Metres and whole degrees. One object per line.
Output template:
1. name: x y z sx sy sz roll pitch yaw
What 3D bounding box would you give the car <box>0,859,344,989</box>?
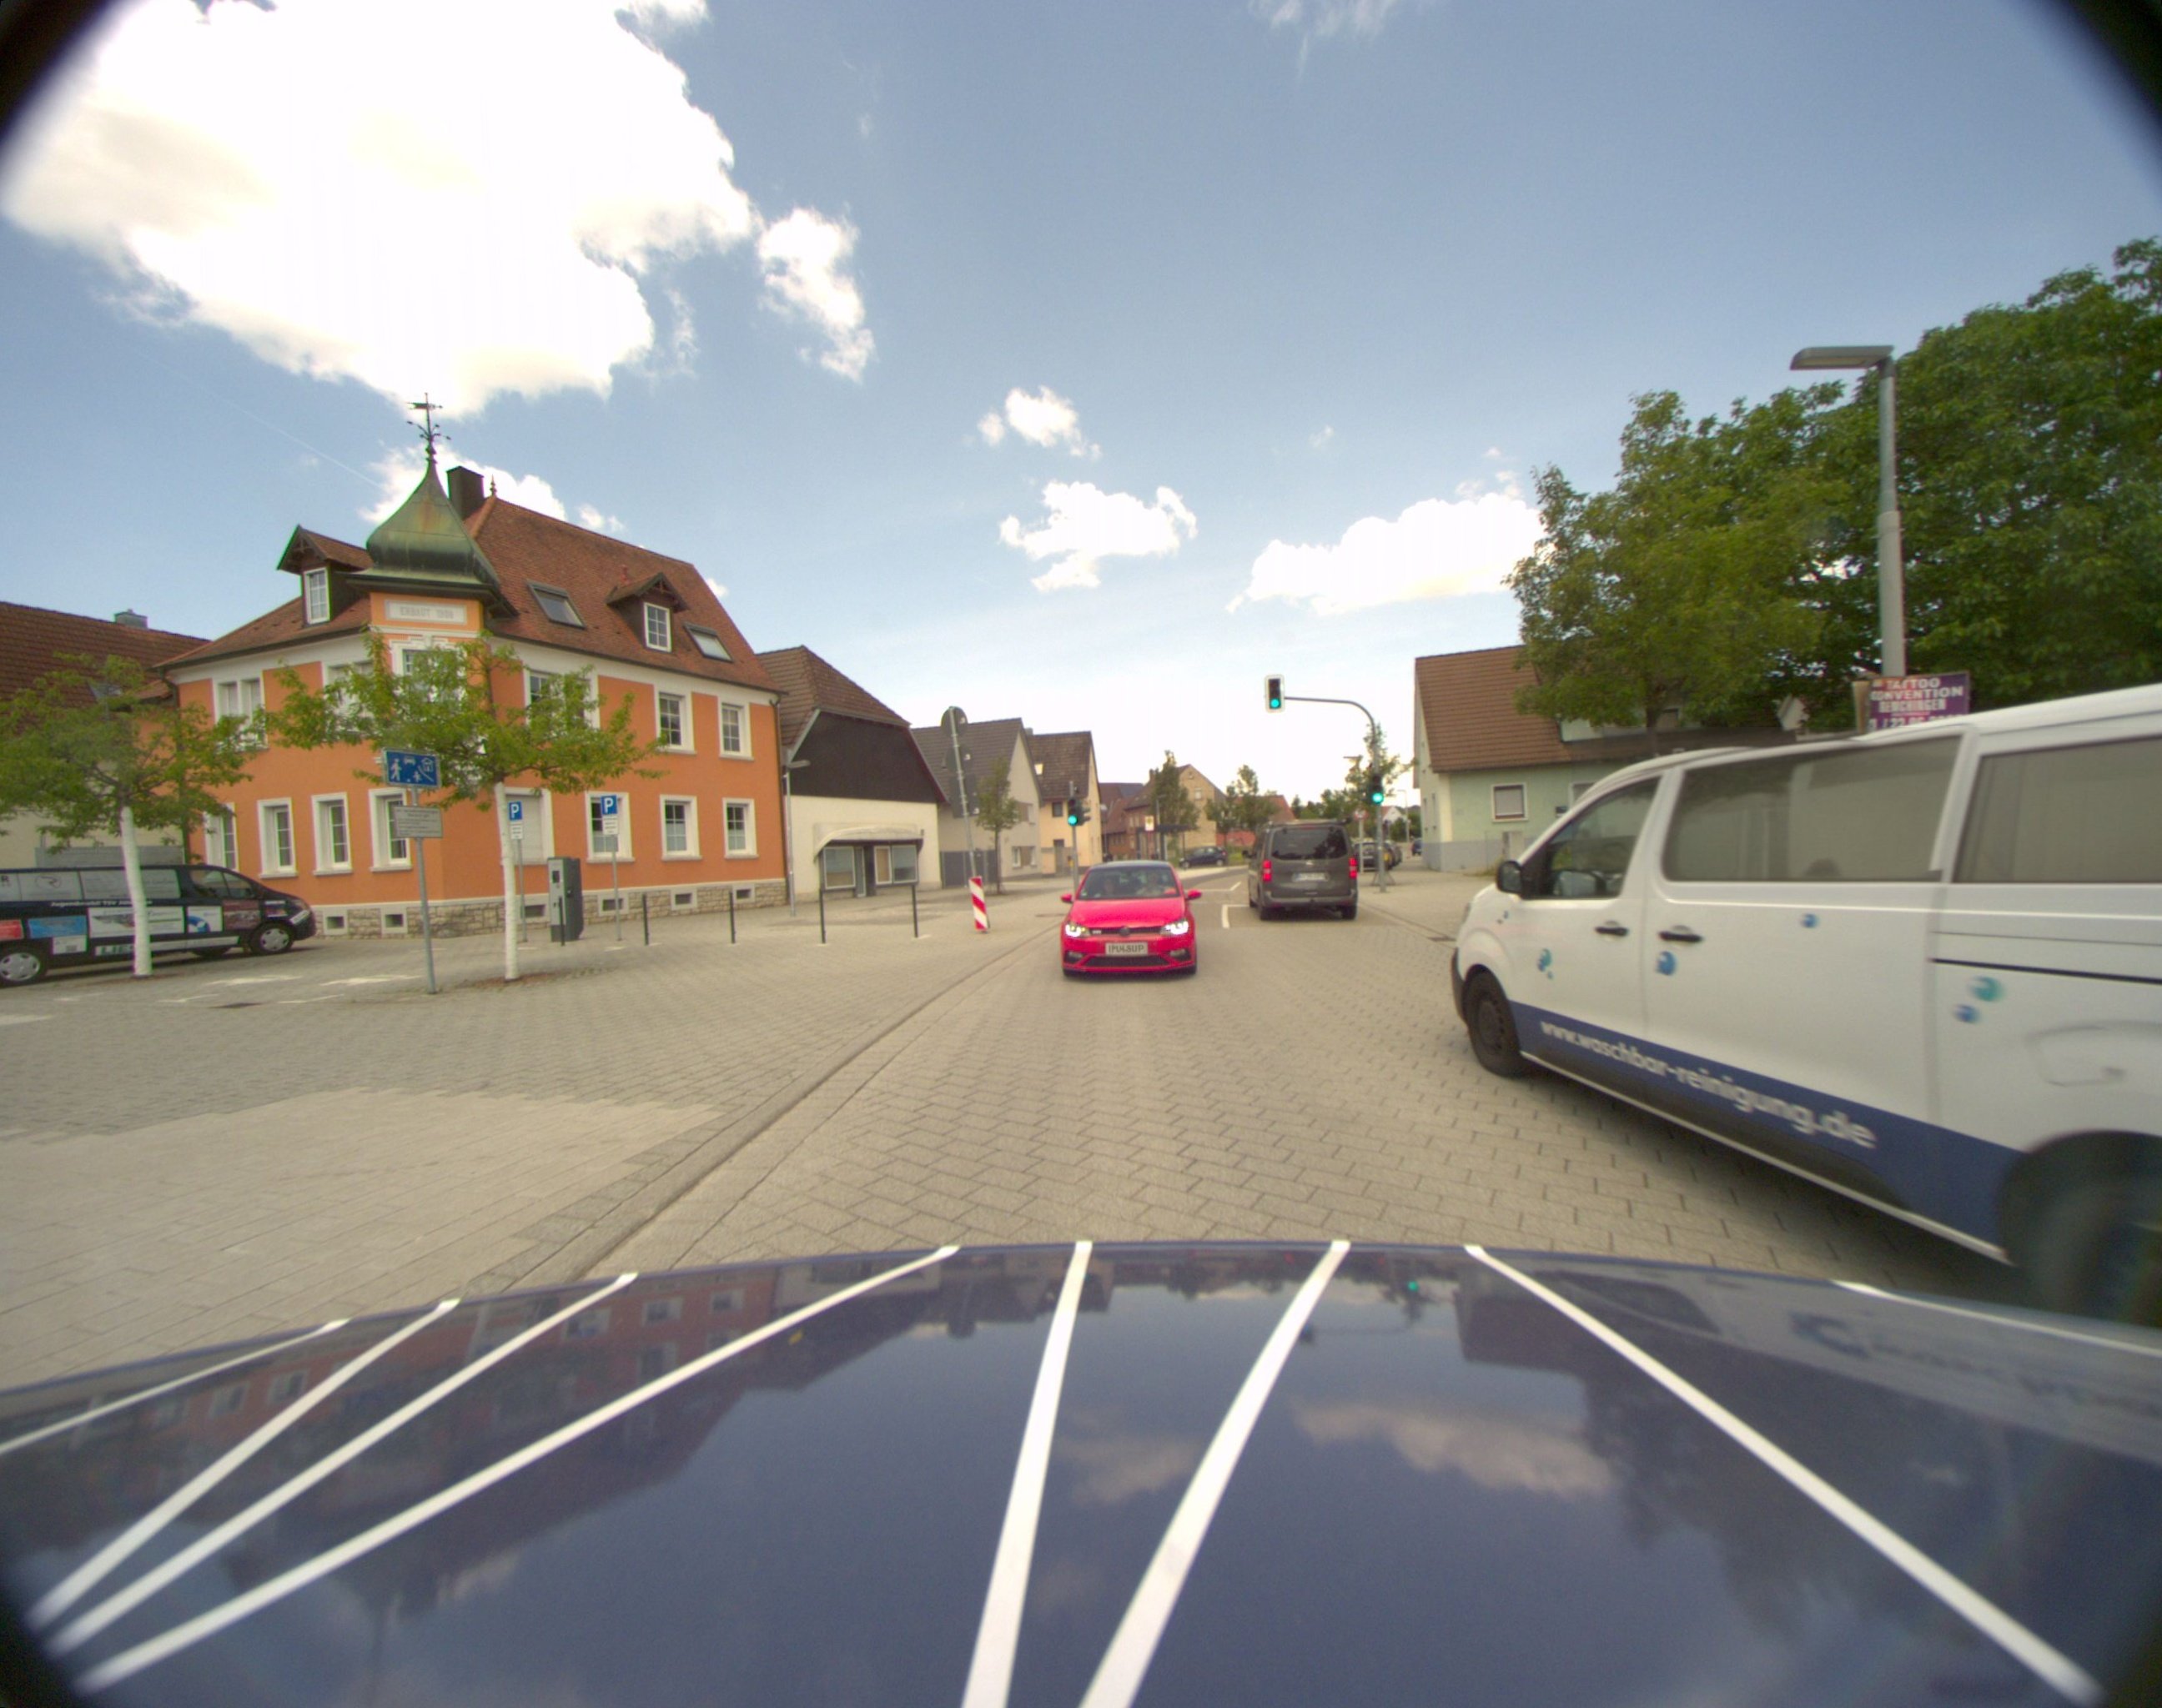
1. car: -18.015 1.206 14.383 1.996 2.002 5.500 -3 0 14

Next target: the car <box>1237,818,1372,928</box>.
1. car: 4.698 0.361 16.696 1.997 2.002 4.742 -2 0 7

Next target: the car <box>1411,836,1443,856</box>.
1. car: 28.482 -0.675 62.553 1.656 1.566 3.698 -2 1 36

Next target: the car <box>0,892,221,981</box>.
1. car: -20.960 1.687 15.172 1.621 1.475 4.727 -3 0 14

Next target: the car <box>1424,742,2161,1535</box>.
1. car: 3.537 0.620 3.206 1.998 1.869 4.866 -3 0 1

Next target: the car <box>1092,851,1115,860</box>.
1. car: 3.111 0.191 105.177 1.805 1.053 3.993 -3 0 -20

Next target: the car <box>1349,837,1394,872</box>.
1. car: 14.283 -0.013 37.239 1.734 1.482 4.507 -2 1 24

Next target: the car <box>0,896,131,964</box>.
1. car: -26.134 1.877 17.333 1.996 1.433 5.130 -3 0 14

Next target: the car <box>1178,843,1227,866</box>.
1. car: 9.455 0.033 58.938 3.544 1.583 1.668 -3 0 13

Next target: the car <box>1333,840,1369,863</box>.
1. car: 17.791 -0.184 50.011 1.886 1.426 4.603 -1 0 24

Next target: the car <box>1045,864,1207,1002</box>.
1. car: 0.453 0.915 10.512 1.782 1.403 3.886 -2 1 -2
